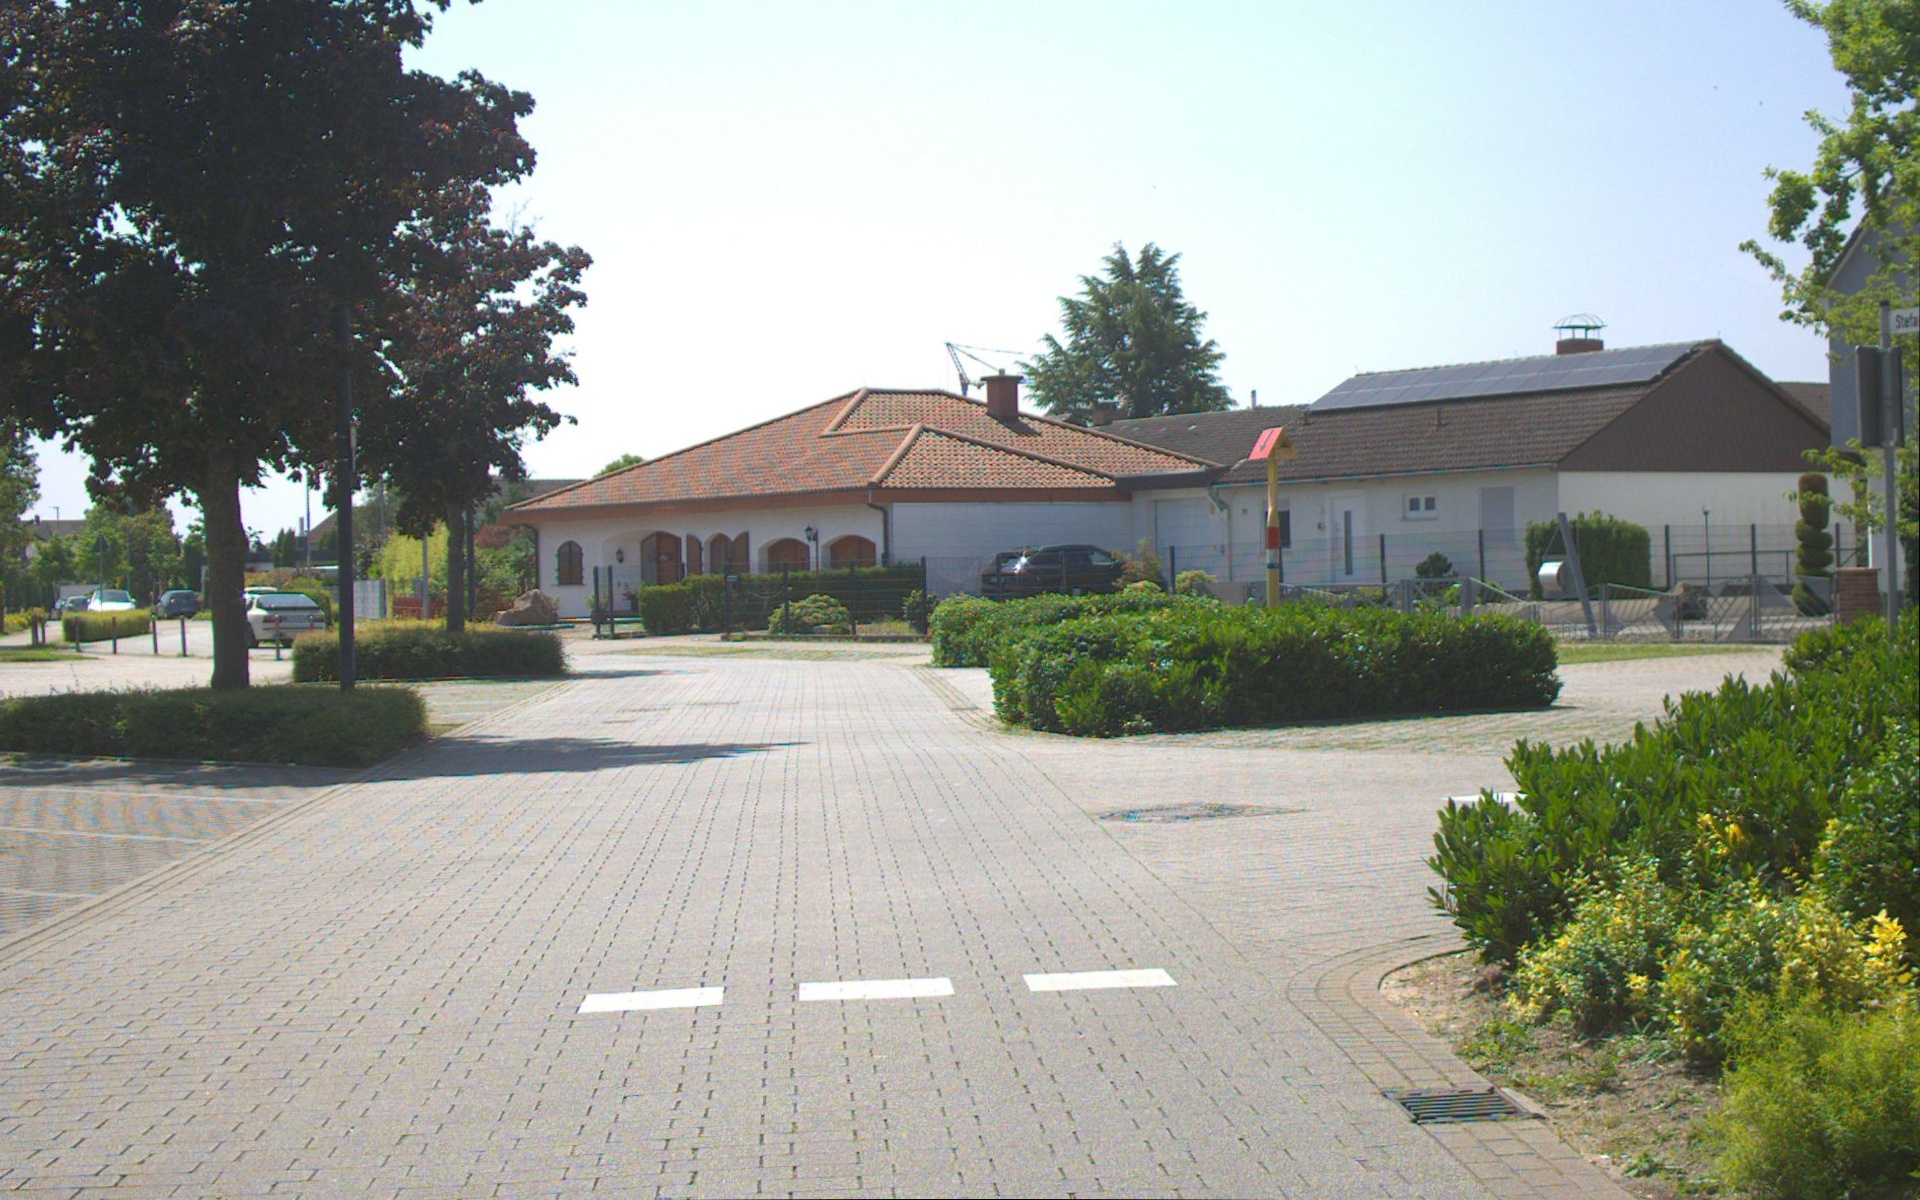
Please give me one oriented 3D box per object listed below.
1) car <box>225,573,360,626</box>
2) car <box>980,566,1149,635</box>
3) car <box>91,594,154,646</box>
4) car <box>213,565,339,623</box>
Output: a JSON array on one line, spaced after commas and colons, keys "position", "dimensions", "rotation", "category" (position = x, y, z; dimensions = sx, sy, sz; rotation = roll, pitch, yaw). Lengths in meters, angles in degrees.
[{"position": [-16.929, 0.000, 87.044], "dimensions": [1.994, 1.284, 4.000], "rotation": [-1, 0, -33], "category": "car"}, {"position": [2.469, -0.002, 80.352], "dimensions": [1.853, 1.537, 3.826], "rotation": [-1, 0, 44], "category": "car"}, {"position": [-26.811, 0.637, 110.125], "dimensions": [1.614, 1.621, 3.557], "rotation": [-1, 0, -8], "category": "car"}, {"position": [-15.771, -0.125, 79.126], "dimensions": [1.614, 1.284, 3.556], "rotation": [-1, 0, -33], "category": "car"}]
